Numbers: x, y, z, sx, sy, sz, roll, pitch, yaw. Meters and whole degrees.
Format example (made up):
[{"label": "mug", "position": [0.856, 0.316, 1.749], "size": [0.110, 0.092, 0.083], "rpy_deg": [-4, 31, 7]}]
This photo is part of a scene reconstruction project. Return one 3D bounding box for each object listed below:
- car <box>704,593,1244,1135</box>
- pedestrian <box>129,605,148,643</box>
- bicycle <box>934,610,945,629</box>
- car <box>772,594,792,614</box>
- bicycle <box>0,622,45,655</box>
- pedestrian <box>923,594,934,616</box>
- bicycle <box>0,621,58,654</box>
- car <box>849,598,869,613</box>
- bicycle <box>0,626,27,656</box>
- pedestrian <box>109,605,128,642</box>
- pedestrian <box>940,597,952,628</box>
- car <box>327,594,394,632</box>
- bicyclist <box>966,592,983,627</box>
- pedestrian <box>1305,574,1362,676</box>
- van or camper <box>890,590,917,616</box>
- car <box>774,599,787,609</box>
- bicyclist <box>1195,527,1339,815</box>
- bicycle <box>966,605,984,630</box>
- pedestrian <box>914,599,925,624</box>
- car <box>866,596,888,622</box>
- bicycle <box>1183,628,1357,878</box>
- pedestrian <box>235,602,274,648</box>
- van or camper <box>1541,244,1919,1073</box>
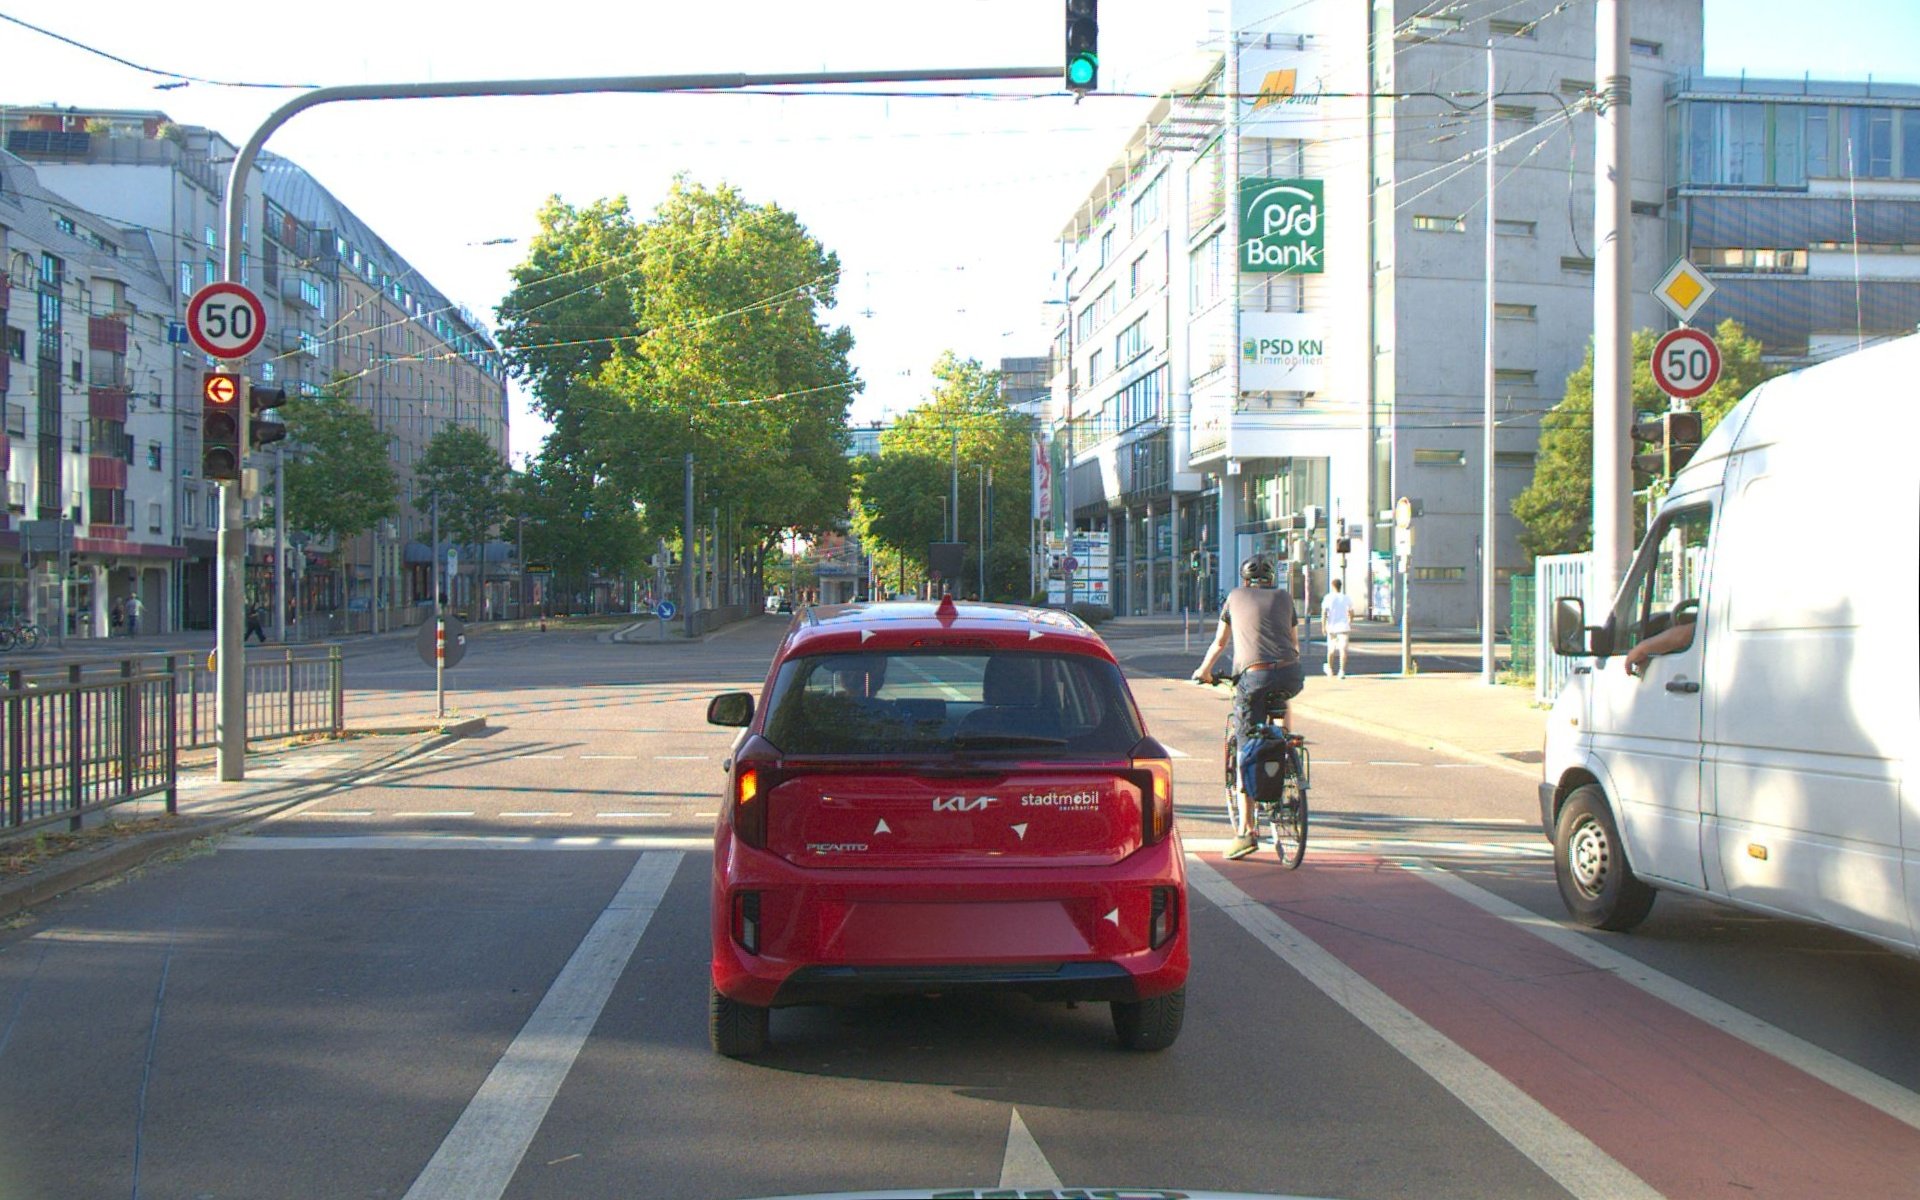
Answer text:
[{"label": "car", "position": [-0.100, 0.761, 6.549], "size": [1.582, 1.561, 3.408], "rpy_deg": [0, 0, -5]}, {"label": "pedestrian", "position": [-33.670, 0.972, 67.796], "size": [0.524, 1.520, 0.586], "rpy_deg": [0, 0, -9]}, {"label": "bicycle", "position": [-1.148, 1.084, 93.128], "size": [0.510, 0.991, 2.201], "rpy_deg": [-4, 1, 0]}, {"label": "car", "position": [-18.902, 0.434, 175.316], "size": [1.956, 2.049, 3.992], "rpy_deg": [0, 0, -8]}, {"label": "bicycle", "position": [-29.600, 1.210, 51.543], "size": [1.808, 1.002, 0.552], "rpy_deg": [0, 0, -8]}, {"label": "pedestrian", "position": [-2.527, 0.370, 133.567], "size": [0.873, 1.783, 0.841], "rpy_deg": [0, 0, -1]}, {"label": "bicycle", "position": [-29.543, 1.174, 52.159], "size": [1.808, 1.002, 0.552], "rpy_deg": [0, 0, -8]}, {"label": "car", "position": [-10.684, 0.615, 174.824], "size": [1.745, 1.561, 3.504], "rpy_deg": [0, 0, -10]}, {"label": "bicycle", "position": [-29.451, 1.250, 50.279], "size": [1.806, 0.869, 0.553], "rpy_deg": [0, 0, -4]}, {"label": "pedestrian", "position": [-34.412, 0.958, 67.642], "size": [0.524, 1.520, 0.586], "rpy_deg": [0, 0, -9]}, {"label": "pedestrian", "position": [-0.788, 0.706, 93.201], "size": [0.633, 1.710, 0.651], "rpy_deg": [0, 0, -2]}, {"label": "car", "position": [-27.453, 0.567, 75.833], "size": [1.917, 1.702, 4.255], "rpy_deg": [0, 0, -6]}, {"label": "bicyclist", "position": [0.704, 0.449, 80.206], "size": [0.707, 1.631, 1.088], "rpy_deg": [-3, 0, -4]}, {"label": "pedestrian", "position": [6.909, 0.450, 30.641], "size": [0.761, 1.855, 1.215], "rpy_deg": [0, 0, -1]}, {"label": "van or camper", "position": [-4.539, 0.263, 132.215], "size": [1.954, 2.024, 4.740], "rpy_deg": [0, 0, -4]}, {"label": "car", "position": [-27.772, 0.656, 255.398], "size": [1.745, 1.561, 3.403], "rpy_deg": [0, 0, -10]}, {"label": "bicyclist", "position": [1.824, 0.402, 9.945], "size": [0.637, 1.631, 1.088], "rpy_deg": [0, 0, -1]}, {"label": "bicycle", "position": [0.741, 0.846, 80.242], "size": [0.682, 1.117, 1.749], "rpy_deg": [-4, 1, -4]}, {"label": "pedestrian", "position": [-2.725, 0.759, 110.347], "size": [0.629, 1.607, 0.723], "rpy_deg": [-4, 0, -1]}, {"label": "car", "position": [-6.023, 0.625, 119.924], "size": [1.603, 1.831, 3.327], "rpy_deg": [-1, 0, -3]}, {"label": "bicycle", "position": [1.810, 0.843, 9.928], "size": [0.637, 1.303, 1.965], "rpy_deg": [0, 0, -1]}, {"label": "pedestrian", "position": [-24.494, 0.867, 57.430], "size": [1.023, 1.571, 0.695], "rpy_deg": [-1, 0, 8]}, {"label": "van or camper", "position": [4.173, 0.201, 5.457], "size": [1.930, 2.763, 6.300], "rpy_deg": [1, 0, -4]}]
